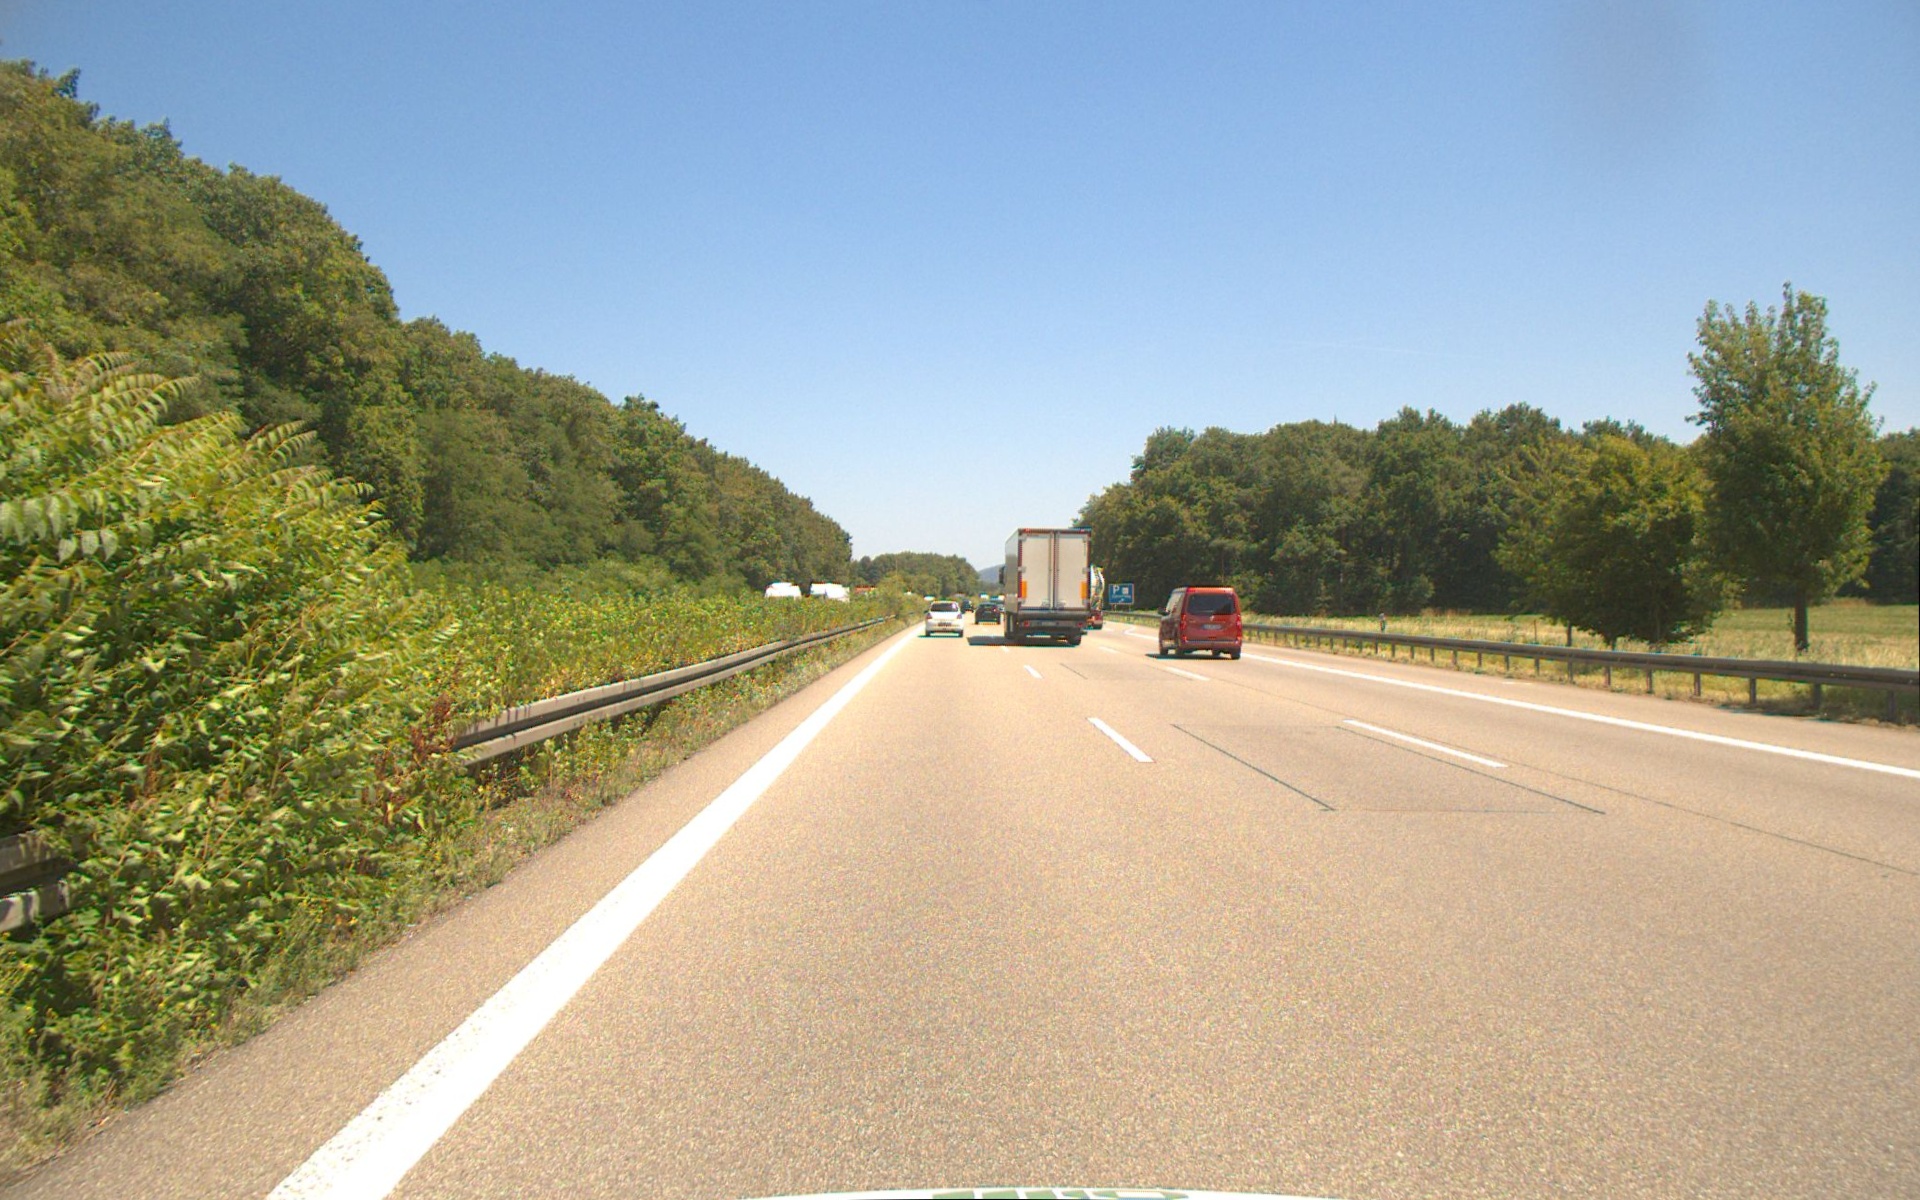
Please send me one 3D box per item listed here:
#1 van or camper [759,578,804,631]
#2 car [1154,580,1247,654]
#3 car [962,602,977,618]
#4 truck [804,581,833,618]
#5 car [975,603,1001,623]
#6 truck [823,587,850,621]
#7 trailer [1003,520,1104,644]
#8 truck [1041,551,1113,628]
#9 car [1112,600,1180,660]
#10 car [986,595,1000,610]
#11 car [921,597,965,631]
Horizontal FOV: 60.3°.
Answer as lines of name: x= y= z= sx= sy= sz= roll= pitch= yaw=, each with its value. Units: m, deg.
van or camper: x=-10.294 y=0.243 z=95.890 sx=1.953 sy=2.896 sz=6.998 roll=0 pitch=0 yaw=-1
car: x=6.985 y=0.473 z=48.551 sx=1.818 sy=2.038 sz=5.520 roll=1 pitch=0 yaw=-1
car: x=1.318 y=1.370 z=228.418 sx=2.064 sy=2.049 sz=3.999 roll=1 pitch=0 yaw=-1
truck: x=-16.325 y=-0.056 z=191.222 sx=2.776 sy=4.104 sz=4.185 roll=-2 pitch=0 yaw=0
car: x=1.884 y=0.874 z=113.680 sx=1.634 sy=1.312 sz=3.999 roll=0 pitch=0 yaw=-1
truck: x=-12.863 y=0.381 z=172.912 sx=2.361 sy=3.412 sz=6.998 roll=-2 pitch=0 yaw=-1
trailer: x=3.349 y=-0.626 z=62.634 sx=3.157 sy=4.216 sz=12.351 roll=0 pitch=0 yaw=0
truck: x=6.982 y=-0.609 z=100.037 sx=3.159 sy=4.421 sz=10.802 roll=0 pitch=0 yaw=-2
car: x=6.594 y=1.046 z=59.004 sx=1.953 sy=2.049 sz=4.000 roll=0 pitch=0 yaw=0
car: x=4.012 y=0.319 z=202.010 sx=1.634 sy=1.796 sz=3.999 roll=0 pitch=0 yaw=-1
car: x=-0.774 y=0.610 z=71.911 sx=1.775 sy=1.429 sz=3.315 roll=0 pitch=0 yaw=-3
